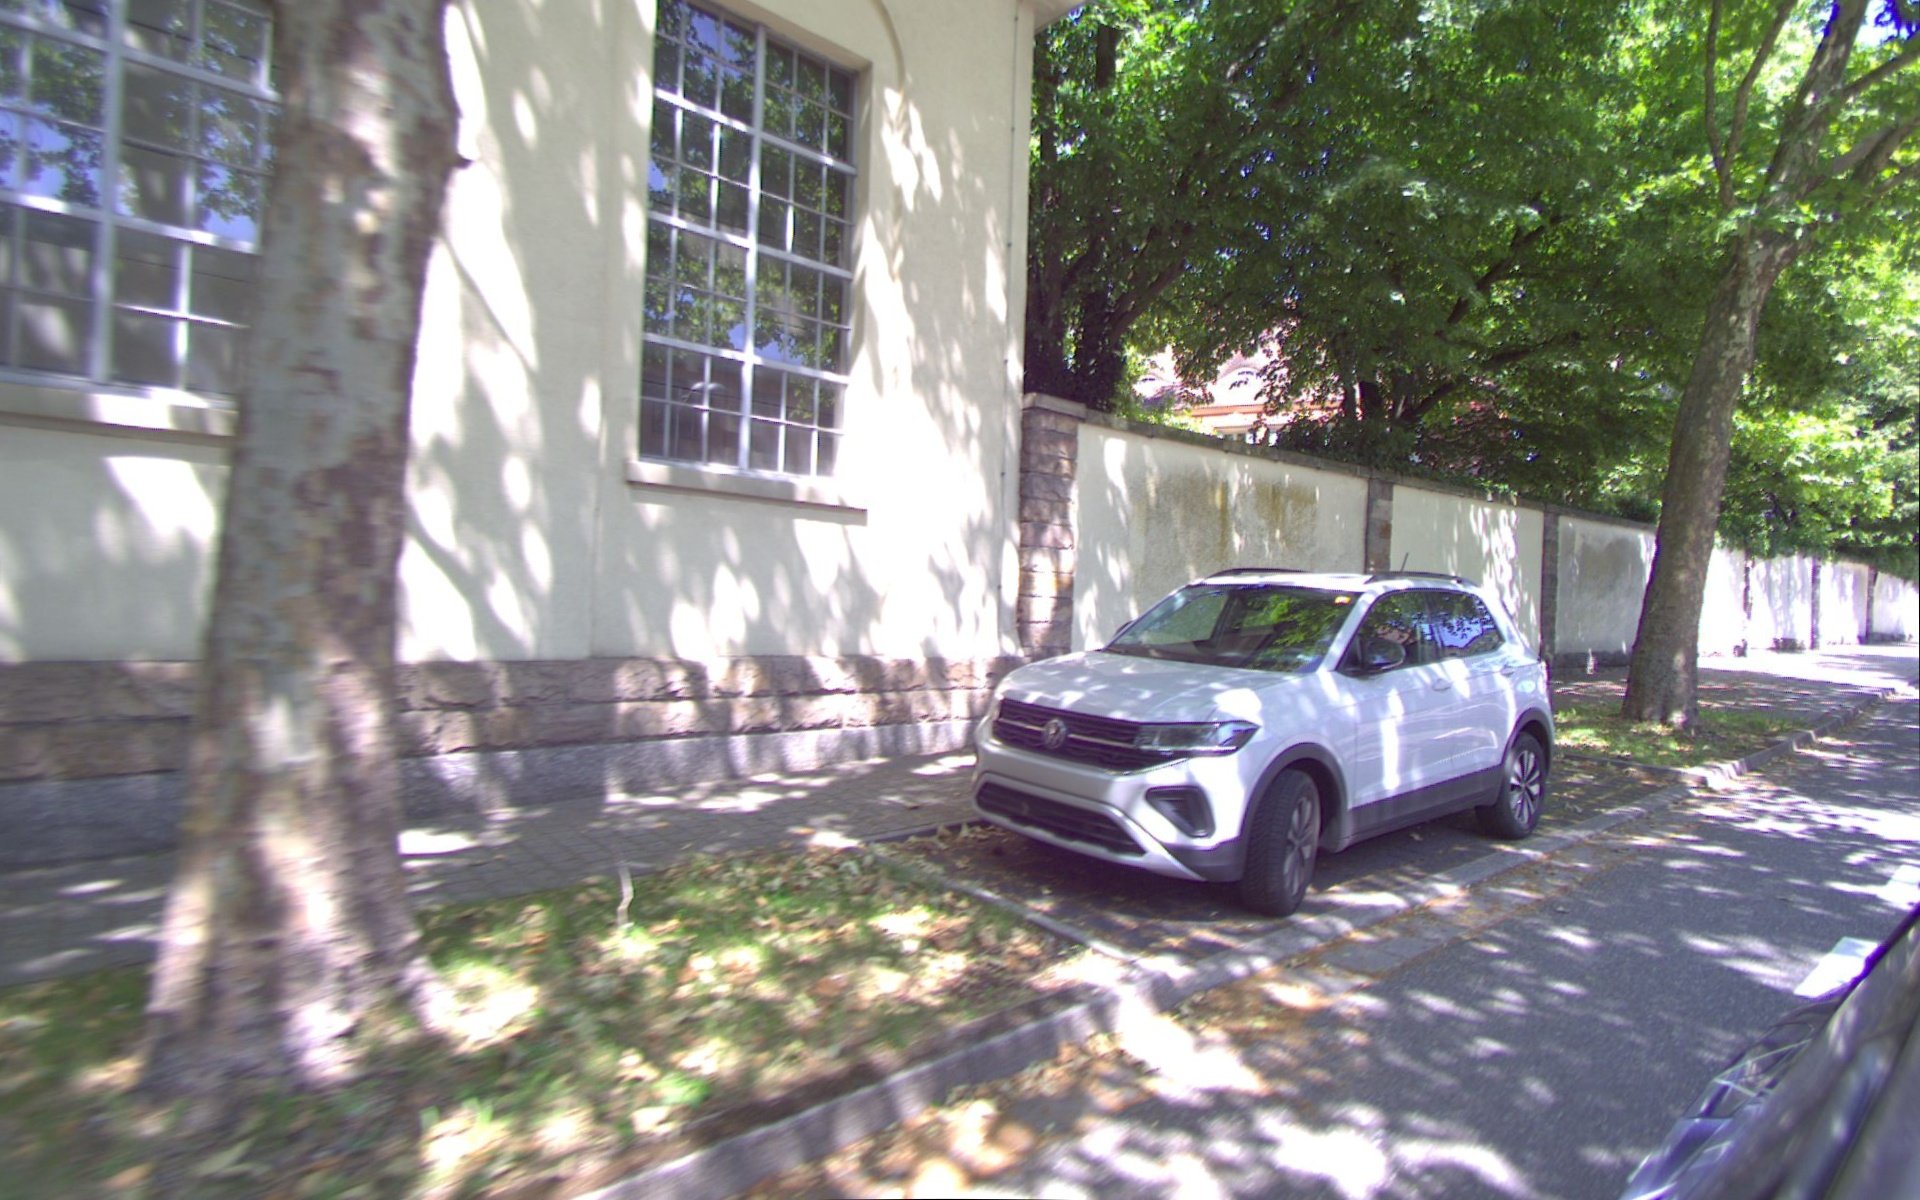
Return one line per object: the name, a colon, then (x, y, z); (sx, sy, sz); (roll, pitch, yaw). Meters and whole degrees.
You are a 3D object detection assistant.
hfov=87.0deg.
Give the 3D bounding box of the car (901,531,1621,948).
car: (2.079, 0.532, 6.020); (4.694, 1.576, 1.745); (1, 2, -40)
